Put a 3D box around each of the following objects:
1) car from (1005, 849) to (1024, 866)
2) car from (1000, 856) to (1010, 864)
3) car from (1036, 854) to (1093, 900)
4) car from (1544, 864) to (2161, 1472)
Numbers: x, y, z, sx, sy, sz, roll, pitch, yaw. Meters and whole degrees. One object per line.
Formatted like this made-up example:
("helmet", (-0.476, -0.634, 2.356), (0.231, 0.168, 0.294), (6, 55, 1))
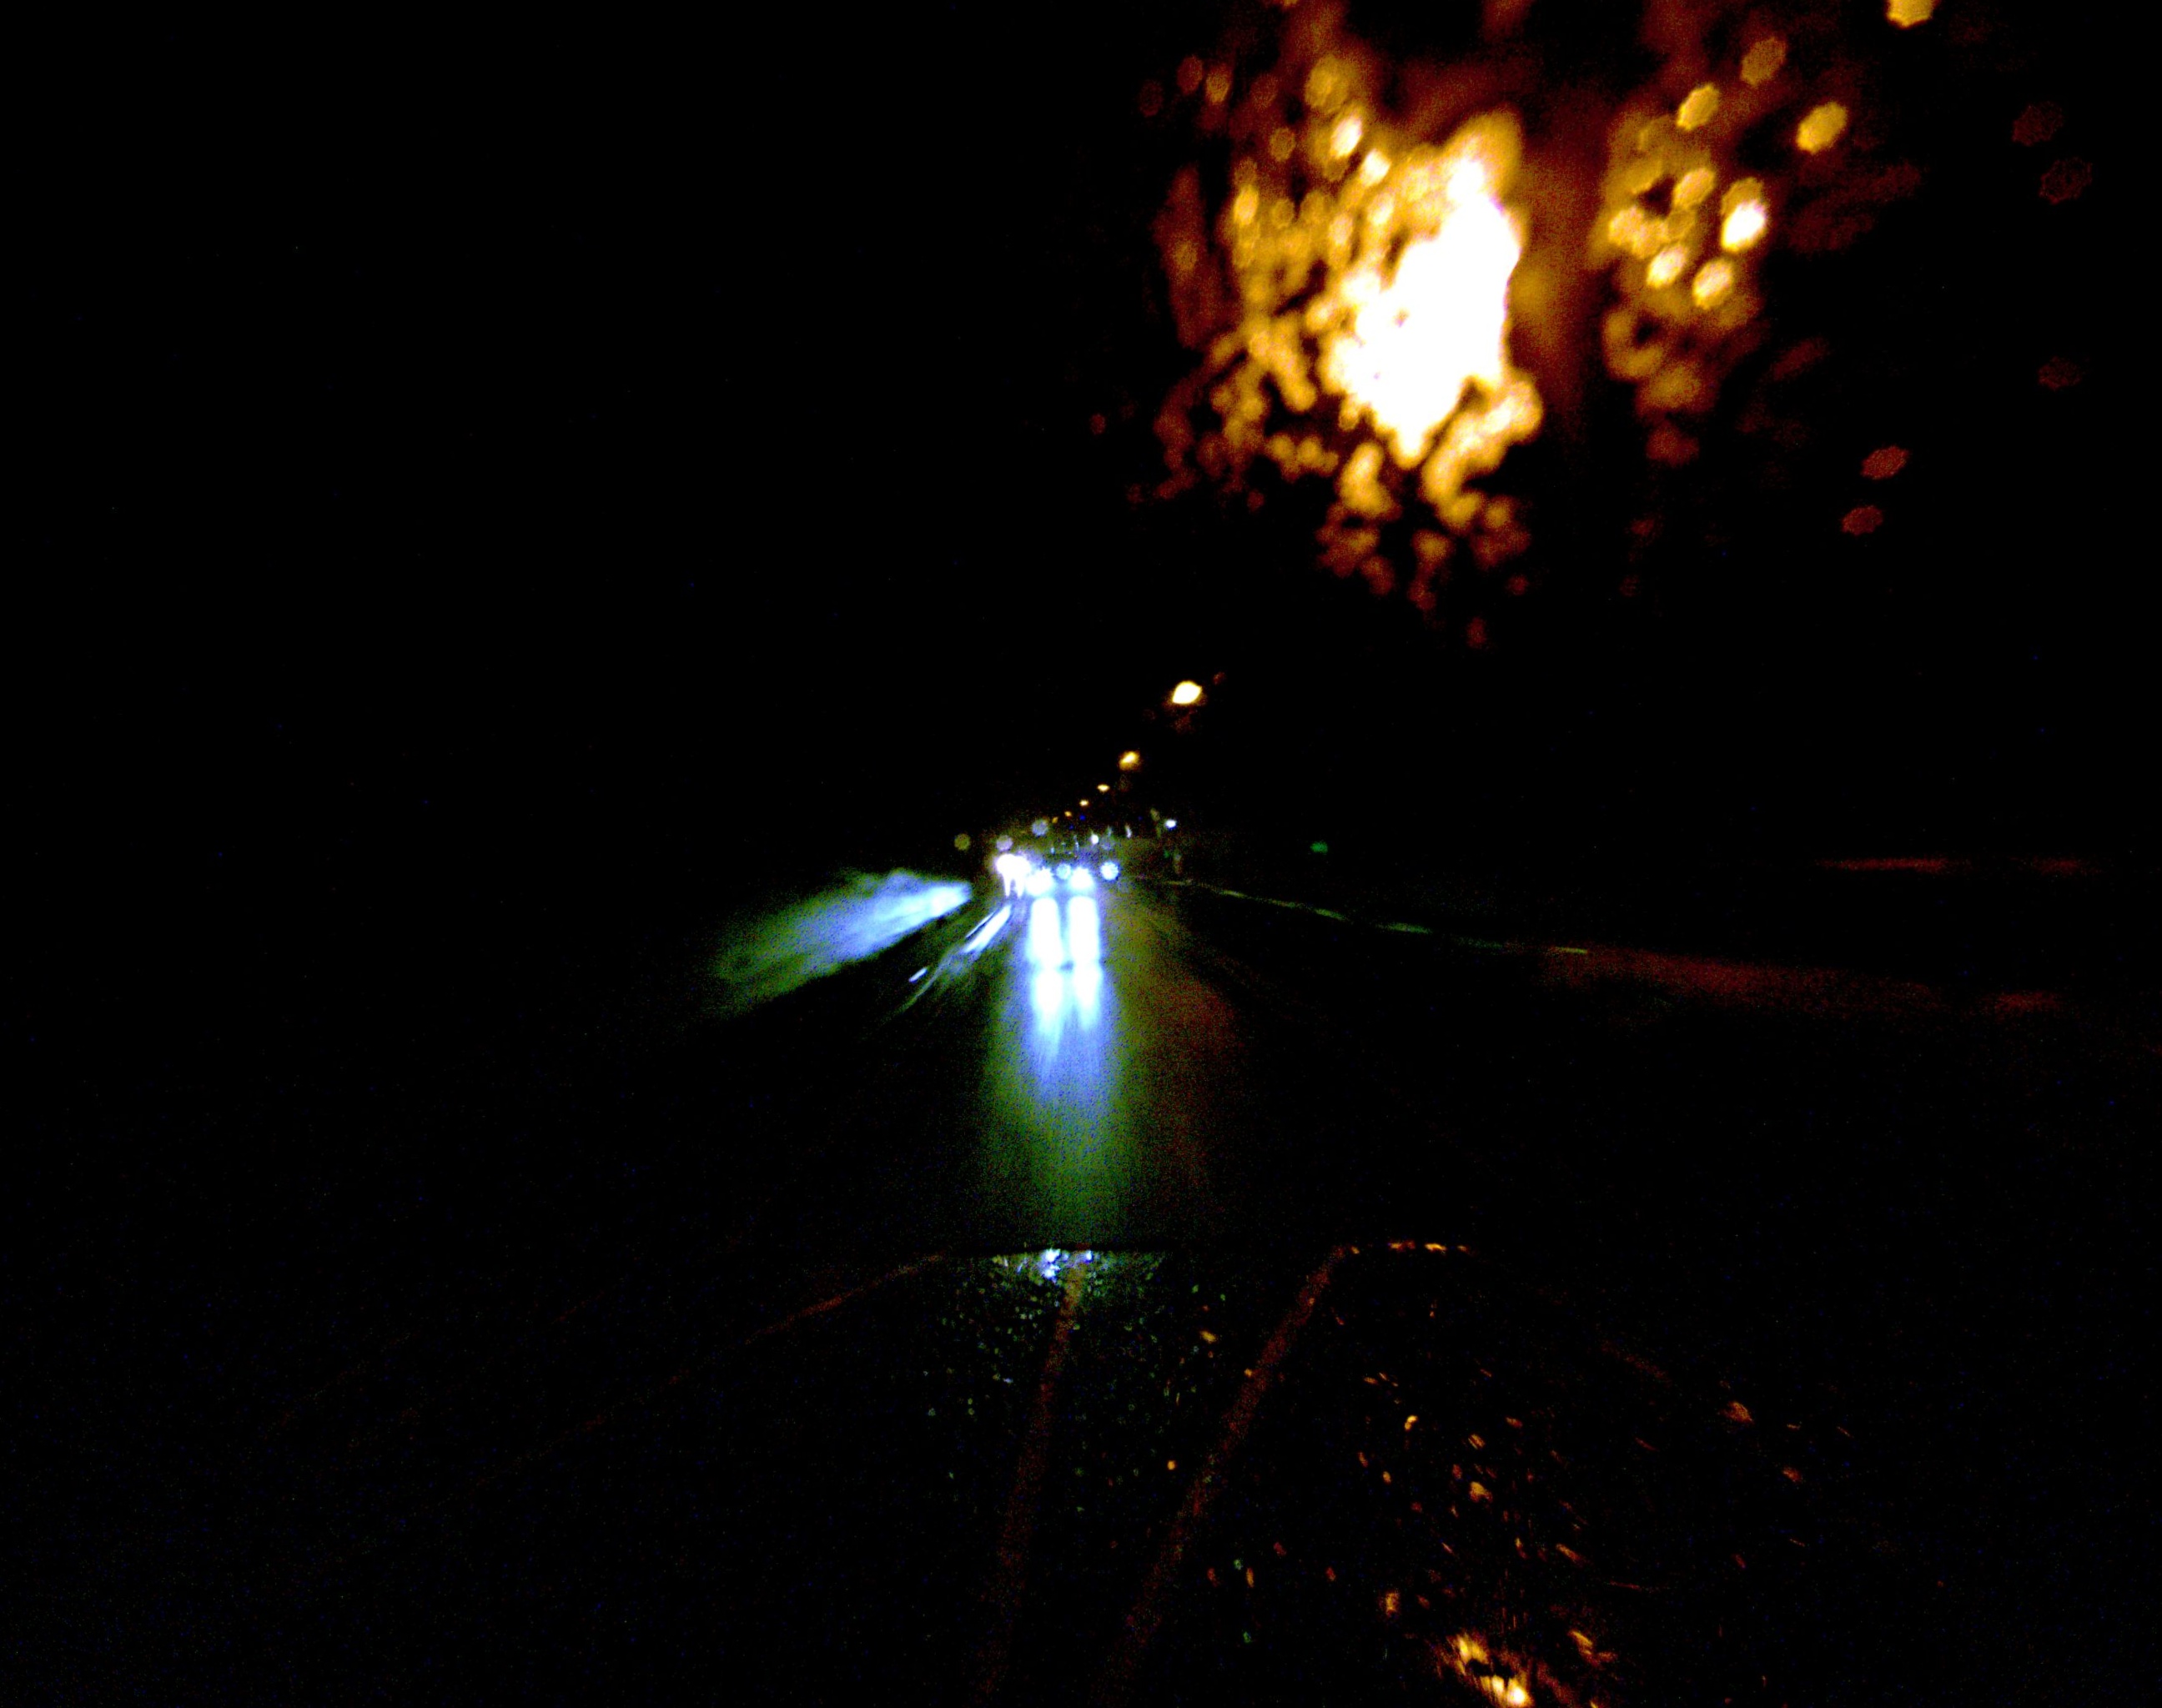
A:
("car", (-8.317, 0.437, 95.363), (1.901, 2.002, 3.995), (-1, 1, -11))
("car", (-13.822, 1.130, 137.765), (1.718, 1.370, 4.582), (-3, 0, -7))
("car", (-0.753, 0.858, 30.527), (1.999, 1.585, 4.606), (-2, 1, -5))
("car", (3.534, 0.815, 2.504), (1.630, 1.438, 3.936), (-2, 0, 1))
